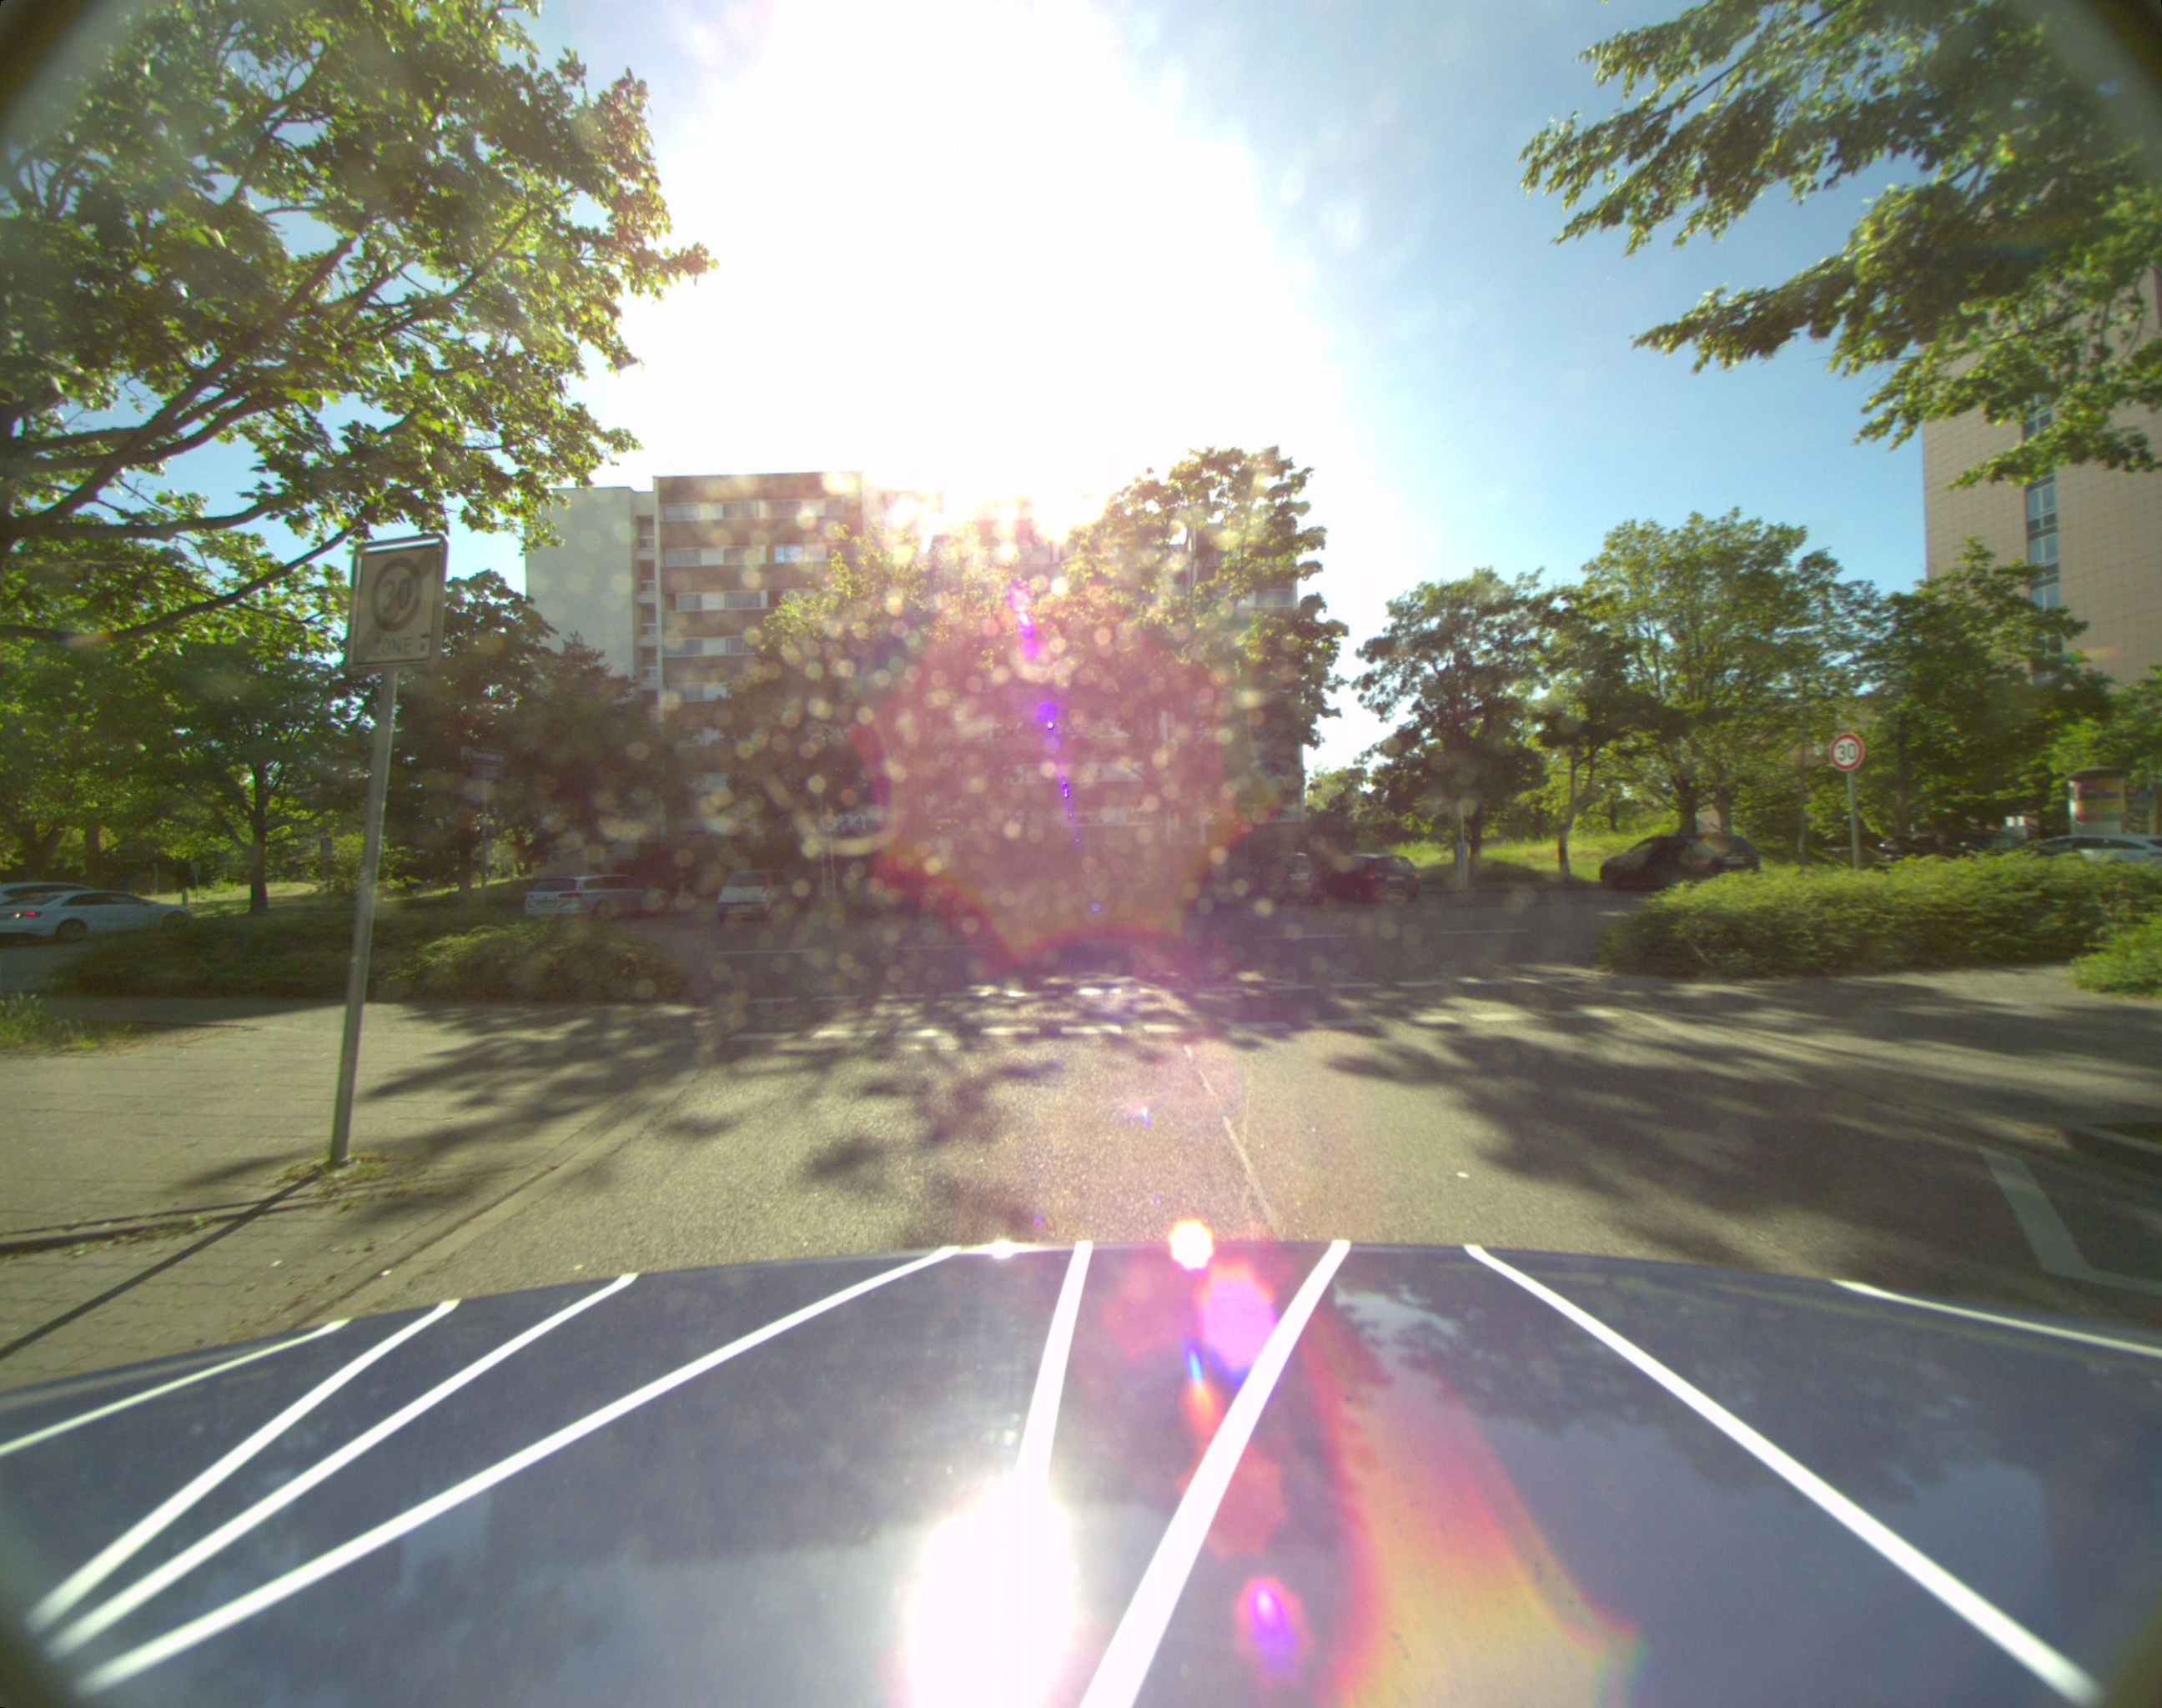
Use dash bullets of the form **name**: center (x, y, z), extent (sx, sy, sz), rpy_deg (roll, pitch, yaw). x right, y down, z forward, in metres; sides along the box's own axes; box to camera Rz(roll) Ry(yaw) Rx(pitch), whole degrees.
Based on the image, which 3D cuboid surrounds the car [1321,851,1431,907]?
- **car**: center (8.843, 0.686, 23.162), extent (1.821, 1.379, 3.998), rpy_deg (-1, 2, 0)

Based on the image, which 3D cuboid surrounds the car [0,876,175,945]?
- **car**: center (-30.958, 1.650, 22.934), extent (1.815, 1.638, 4.447), rpy_deg (-1, 2, -1)

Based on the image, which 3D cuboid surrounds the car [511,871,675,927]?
- **car**: center (-14.353, 1.266, 22.687), extent (1.825, 1.419, 4.291), rpy_deg (-2, -1, 5)

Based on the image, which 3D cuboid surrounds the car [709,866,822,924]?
- **car**: center (-9.545, 1.191, 23.324), extent (1.716, 1.443, 3.999), rpy_deg (-1, 1, 1)

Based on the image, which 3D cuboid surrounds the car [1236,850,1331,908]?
- **car**: center (6.062, 0.692, 23.148), extent (1.700, 1.490, 3.819), rpy_deg (-2, 2, -3)

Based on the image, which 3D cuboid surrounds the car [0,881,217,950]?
- **car**: center (-28.261, 1.695, 21.876), extent (1.737, 1.481, 4.355), rpy_deg (-2, 2, -1)

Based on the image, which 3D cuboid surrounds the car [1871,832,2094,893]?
- **car**: center (26.848, 0.201, 22.878), extent (1.732, 1.609, 4.130), rpy_deg (-3, 1, -1)

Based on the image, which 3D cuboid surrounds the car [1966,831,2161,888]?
- **car**: center (29.930, 0.170, 22.628), extent (1.816, 1.535, 4.457), rpy_deg (-2, -1, -2)

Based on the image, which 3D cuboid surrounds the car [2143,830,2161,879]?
- **car**: center (36.110, 0.053, 22.937), extent (1.836, 1.584, 4.439), rpy_deg (-2, 2, -2)

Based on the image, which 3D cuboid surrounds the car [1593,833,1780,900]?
- **car**: center (17.951, 0.305, 22.880), extent (1.998, 1.769, 4.601), rpy_deg (-2, 1, 1)
